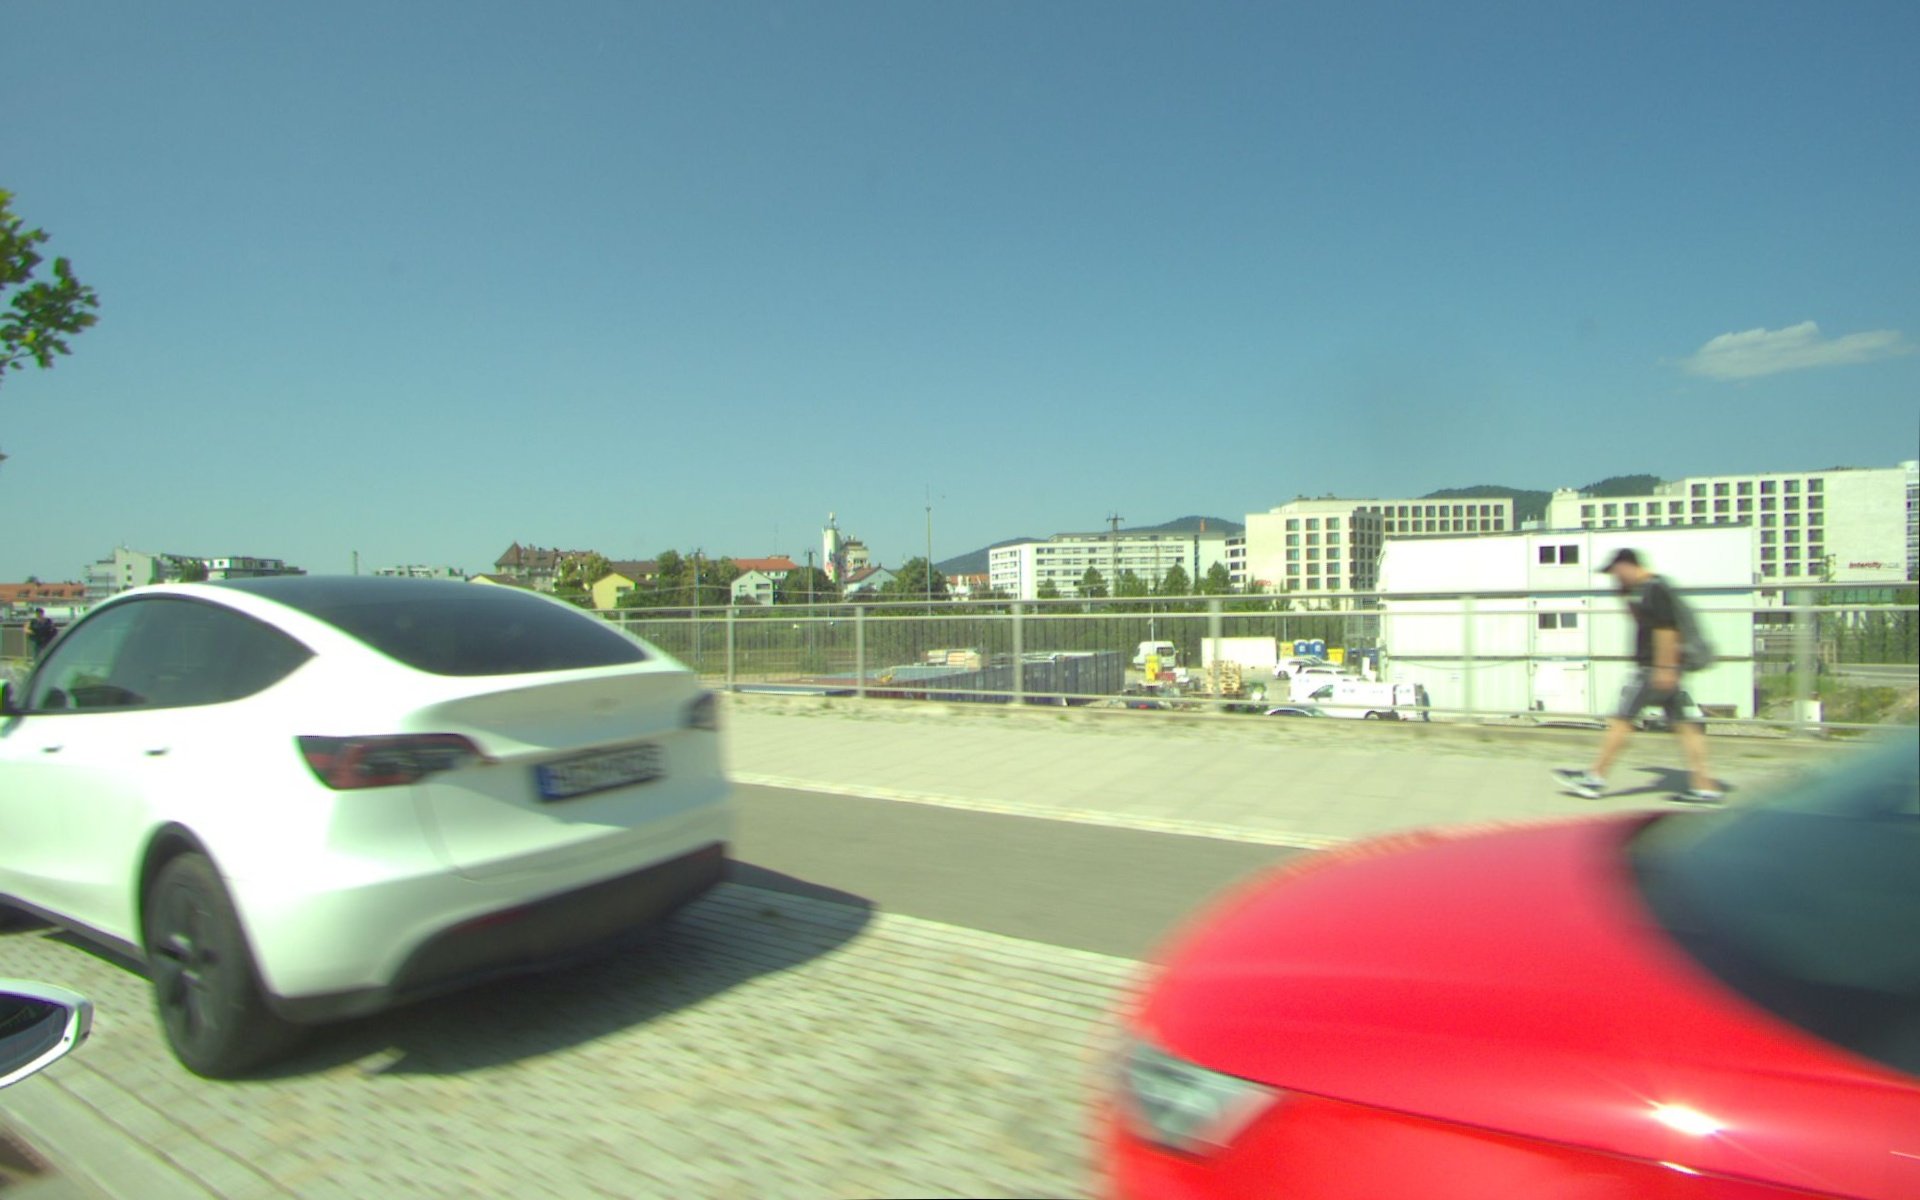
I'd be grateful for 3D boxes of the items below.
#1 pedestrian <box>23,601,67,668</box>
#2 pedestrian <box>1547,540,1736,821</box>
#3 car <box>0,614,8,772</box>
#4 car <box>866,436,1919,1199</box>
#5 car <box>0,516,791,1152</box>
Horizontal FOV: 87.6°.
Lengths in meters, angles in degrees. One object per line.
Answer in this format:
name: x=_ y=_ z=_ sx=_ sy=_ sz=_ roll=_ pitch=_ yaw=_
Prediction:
pedestrian: x=-24.239 y=0.916 z=26.525 sx=0.642 sy=1.726 sz=0.730 roll=-2 pitch=-2 yaw=34
pedestrian: x=4.295 y=0.462 z=6.364 sx=0.936 sy=1.631 sz=0.748 roll=-1 pitch=3 yaw=33
car: x=-11.290 y=0.904 z=9.902 sx=4.101 sy=1.499 sz=1.903 roll=0 pitch=1 yaw=35
car: x=2.022 y=0.623 z=1.431 sx=3.944 sy=1.538 sz=1.989 roll=-1 pitch=-1 yaw=33
car: x=-3.234 y=0.655 z=4.682 sx=4.807 sy=1.648 sz=1.868 roll=-1 pitch=0 yaw=32
